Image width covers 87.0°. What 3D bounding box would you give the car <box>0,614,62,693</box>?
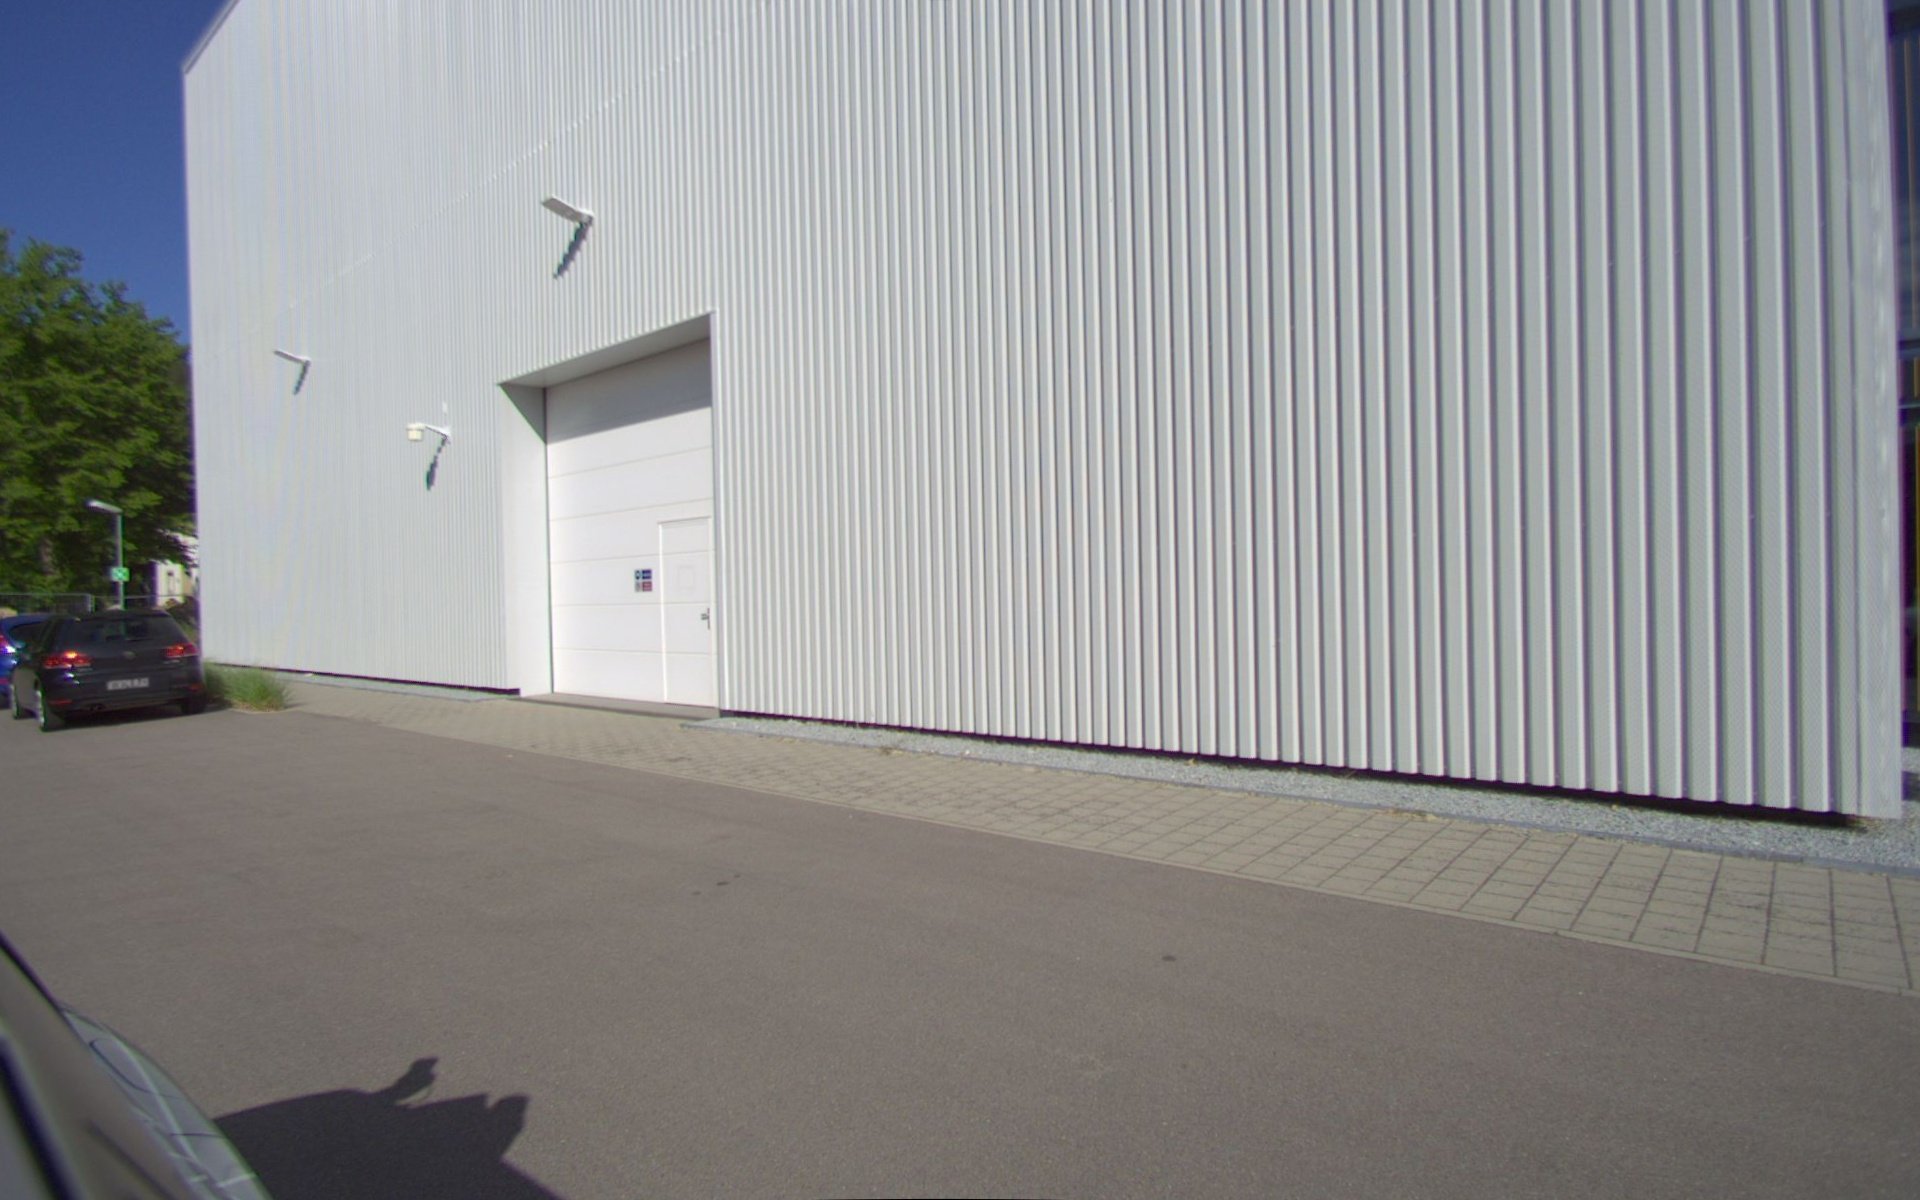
[{"bbox_3d":[-19.864,1.094,20.639,3.794,1.459,1.695,-2,1,39],"label":"car"}]

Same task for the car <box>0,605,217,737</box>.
[{"bbox_3d":[-11.998,0.902,14.072,4.312,1.456,1.738,-2,2,41],"label":"car"}]

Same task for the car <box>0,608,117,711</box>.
[{"bbox_3d":[-15.669,0.963,17.073,3.518,1.499,1.533,-2,1,39],"label":"car"}]

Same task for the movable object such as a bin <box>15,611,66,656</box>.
[{"bbox_3d":[-30.934,1.133,34.040,1.279,1.489,1.126,-3,-3,41],"label":"movable object such as a bin"}]

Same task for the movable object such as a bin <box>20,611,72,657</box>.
[{"bbox_3d":[-29.915,1.106,33.135,1.288,1.445,1.126,-2,-2,41],"label":"movable object such as a bin"}]
